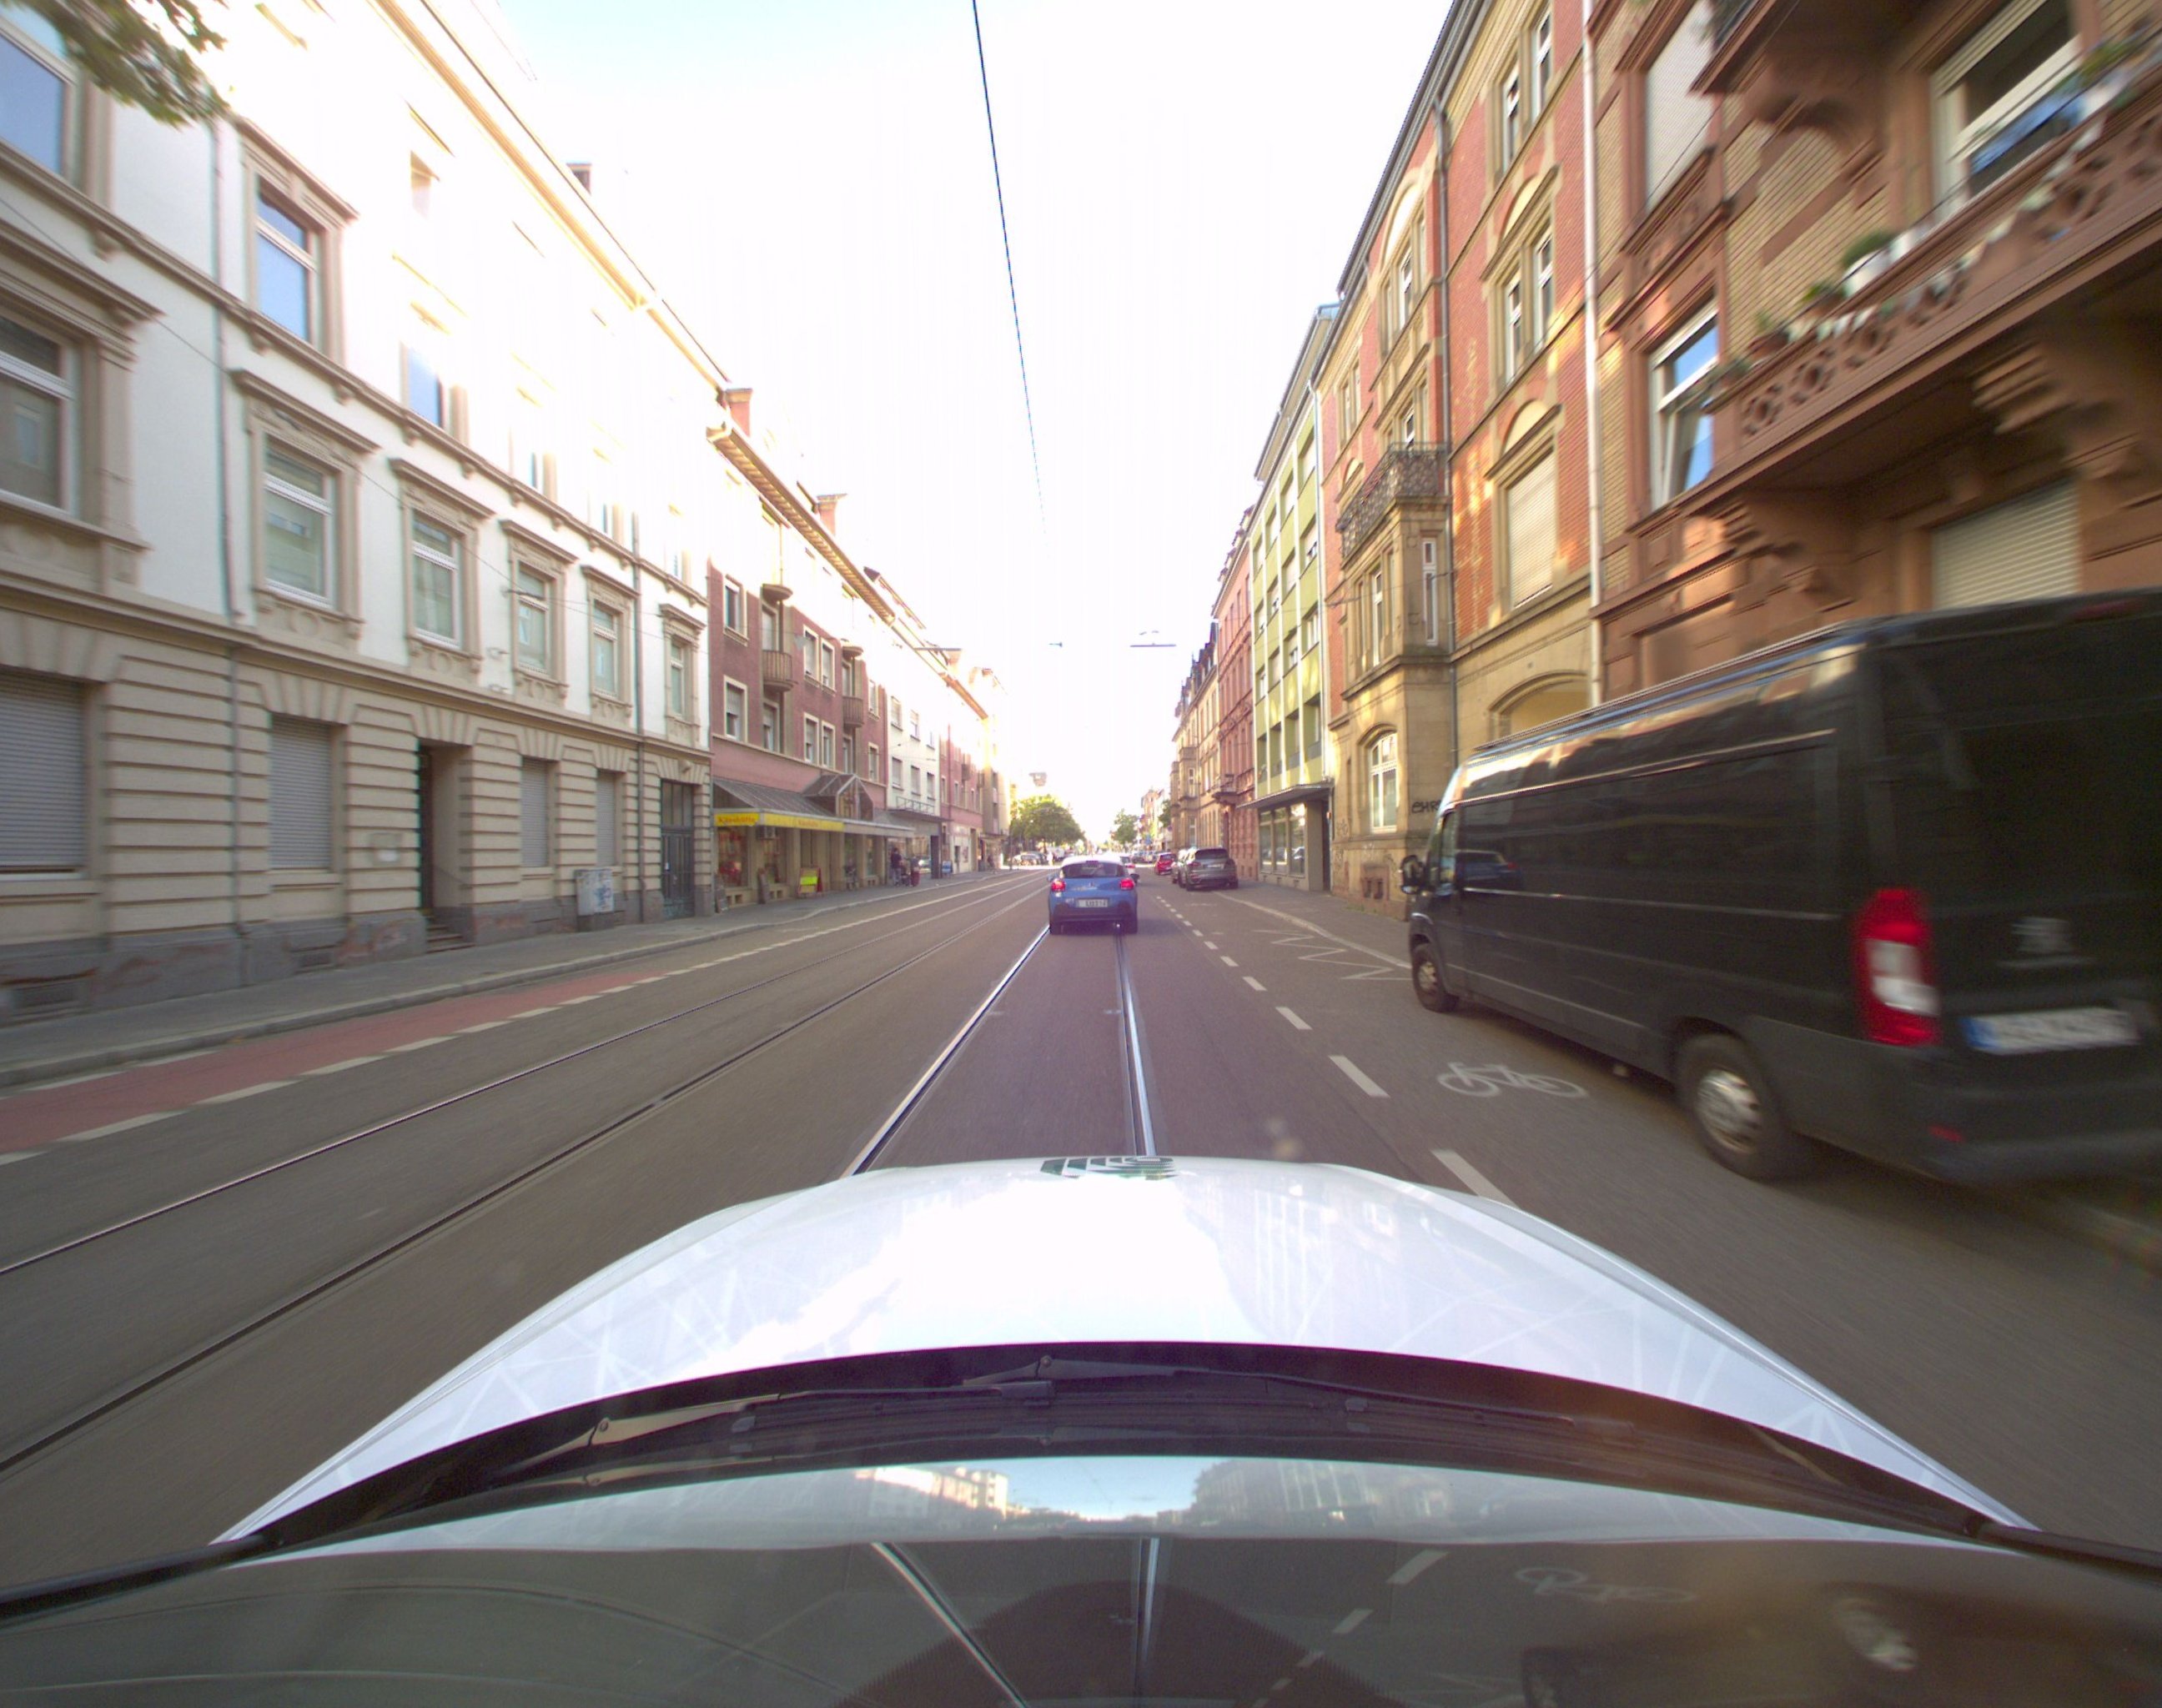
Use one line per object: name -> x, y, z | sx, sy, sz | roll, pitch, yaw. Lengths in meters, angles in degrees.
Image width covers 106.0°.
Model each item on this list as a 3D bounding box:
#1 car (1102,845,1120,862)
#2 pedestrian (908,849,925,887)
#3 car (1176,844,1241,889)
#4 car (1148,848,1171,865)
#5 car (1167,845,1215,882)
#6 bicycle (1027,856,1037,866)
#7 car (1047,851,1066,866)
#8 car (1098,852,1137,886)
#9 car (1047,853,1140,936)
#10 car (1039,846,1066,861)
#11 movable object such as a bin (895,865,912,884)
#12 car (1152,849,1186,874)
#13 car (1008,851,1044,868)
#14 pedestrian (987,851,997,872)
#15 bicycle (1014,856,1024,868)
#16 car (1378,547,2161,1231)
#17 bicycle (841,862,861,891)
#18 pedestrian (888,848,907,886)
car -> 3.618, -0.037, 98.952 | 1.987, 2.013, 4.000 | -1, 0, 1
pedestrian -> -7.730, 0.645, 38.324 | 0.709, 1.764, 0.653 | -1, 0, -7
car -> 5.100, 0.470, 33.118 | 1.998, 1.672, 4.807 | -1, 0, 2
car -> 7.848, 0.243, 81.631 | 1.998, 1.672, 4.392 | -1, 0, 2
car -> 5.452, 0.453, 40.940 | 1.899, 1.757, 4.000 | -1, 0, 1
bicycle -> -5.851, 0.777, 97.817 | 1.118, 1.146, 3.639 | -1, 0, -4
car -> -2.873, 0.546, 94.672 | 1.987, 1.651, 4.000 | -1, 0, 1
car -> 1.658, 0.657, 37.787 | 1.661, 1.478, 4.000 | -1, 0, 1
car -> 0.314, 0.746, 16.934 | 1.667, 1.477, 4.002 | -1, 0, 2
car -> -5.116, -0.032, 146.459 | 4.328, 2.581, 2.192 | -1, 0, -24
movable object such as a bin -> -8.467, 0.977, 38.861 | 0.608, 0.914, 0.695 | -1, 0, 1
car -> 6.143, 0.511, 57.099 | 1.998, 1.672, 4.392 | -1, 0, 2
car -> -7.070, 0.735, 105.246 | 4.290, 2.017, 2.211 | -1, 0, 3
pedestrian -> -6.919, 0.575, 63.249 | 0.683, 1.638, 0.675 | -1, 0, 0
bicycle -> -7.385, 0.952, 97.608 | 1.118, 1.319, 3.639 | -1, 0, -4
car -> 4.175, 0.090, 5.786 | 2.262, 2.436, 5.725 | -3, 0, 4
bicycle -> -9.701, 0.925, 34.370 | 0.621, 1.159, 2.057 | -1, 0, -11
pedestrian -> -8.585, 0.597, 38.130 | 0.708, 1.764, 0.570 | -1, 0, 0
